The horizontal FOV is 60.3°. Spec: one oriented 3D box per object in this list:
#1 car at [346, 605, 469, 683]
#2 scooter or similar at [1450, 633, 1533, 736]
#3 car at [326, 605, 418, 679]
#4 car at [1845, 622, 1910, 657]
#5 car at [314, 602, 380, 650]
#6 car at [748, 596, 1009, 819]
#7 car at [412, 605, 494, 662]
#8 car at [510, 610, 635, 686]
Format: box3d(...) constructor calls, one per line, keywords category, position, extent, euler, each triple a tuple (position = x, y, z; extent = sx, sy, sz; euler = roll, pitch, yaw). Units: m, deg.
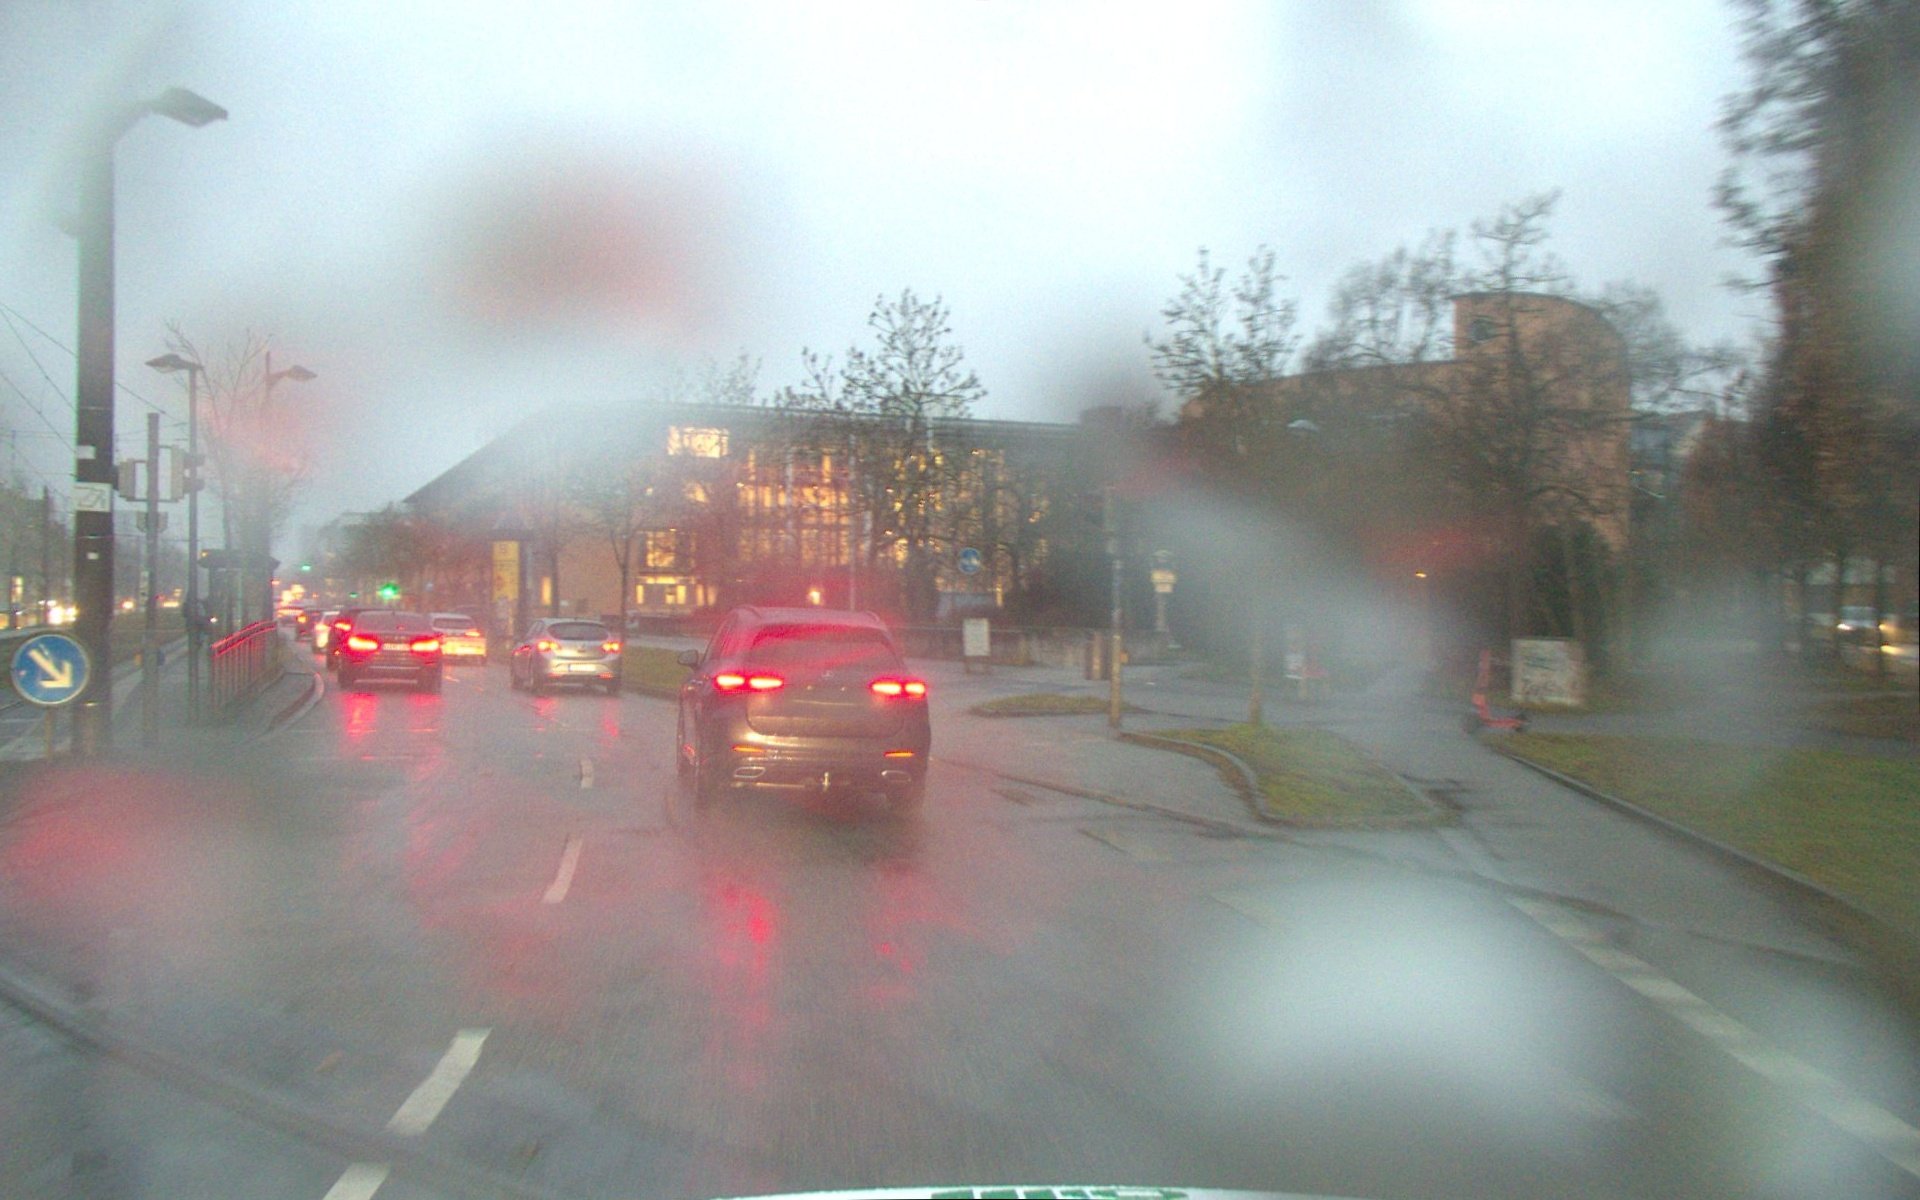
box3d(category="car", position=(-10.990, 0.822, 32.718), extent=(1.967, 1.422, 3.970), euler=(0, 0, -24))
box3d(category="scooter or similar", position=(6.737, 1.051, 20.947), extent=(1.134, 1.253, 0.480), euler=(0, 0, -40))
box3d(category="car", position=(-15.120, 1.024, 42.406), extent=(1.967, 1.796, 3.971), euler=(0, 0, -24))
box3d(category="car", position=(33.969, 1.435, 61.317), extent=(1.633, 1.201, 3.708), euler=(0, 0, 21))
box3d(category="car", position=(-21.689, 0.884, 58.455), extent=(1.967, 1.646, 3.970), euler=(0, 0, -24))
box3d(category="car", position=(-0.805, 0.795, 14.335), extent=(1.952, 1.644, 3.995), euler=(0, 0, -6))
box3d(category="car", position=(-15.557, 0.980, 50.652), extent=(1.967, 1.646, 3.970), euler=(0, 0, -24))
box3d(category="car", position=(-8.012, 0.937, 33.949), extent=(1.965, 1.432, 3.974), euler=(0, 0, -21))
